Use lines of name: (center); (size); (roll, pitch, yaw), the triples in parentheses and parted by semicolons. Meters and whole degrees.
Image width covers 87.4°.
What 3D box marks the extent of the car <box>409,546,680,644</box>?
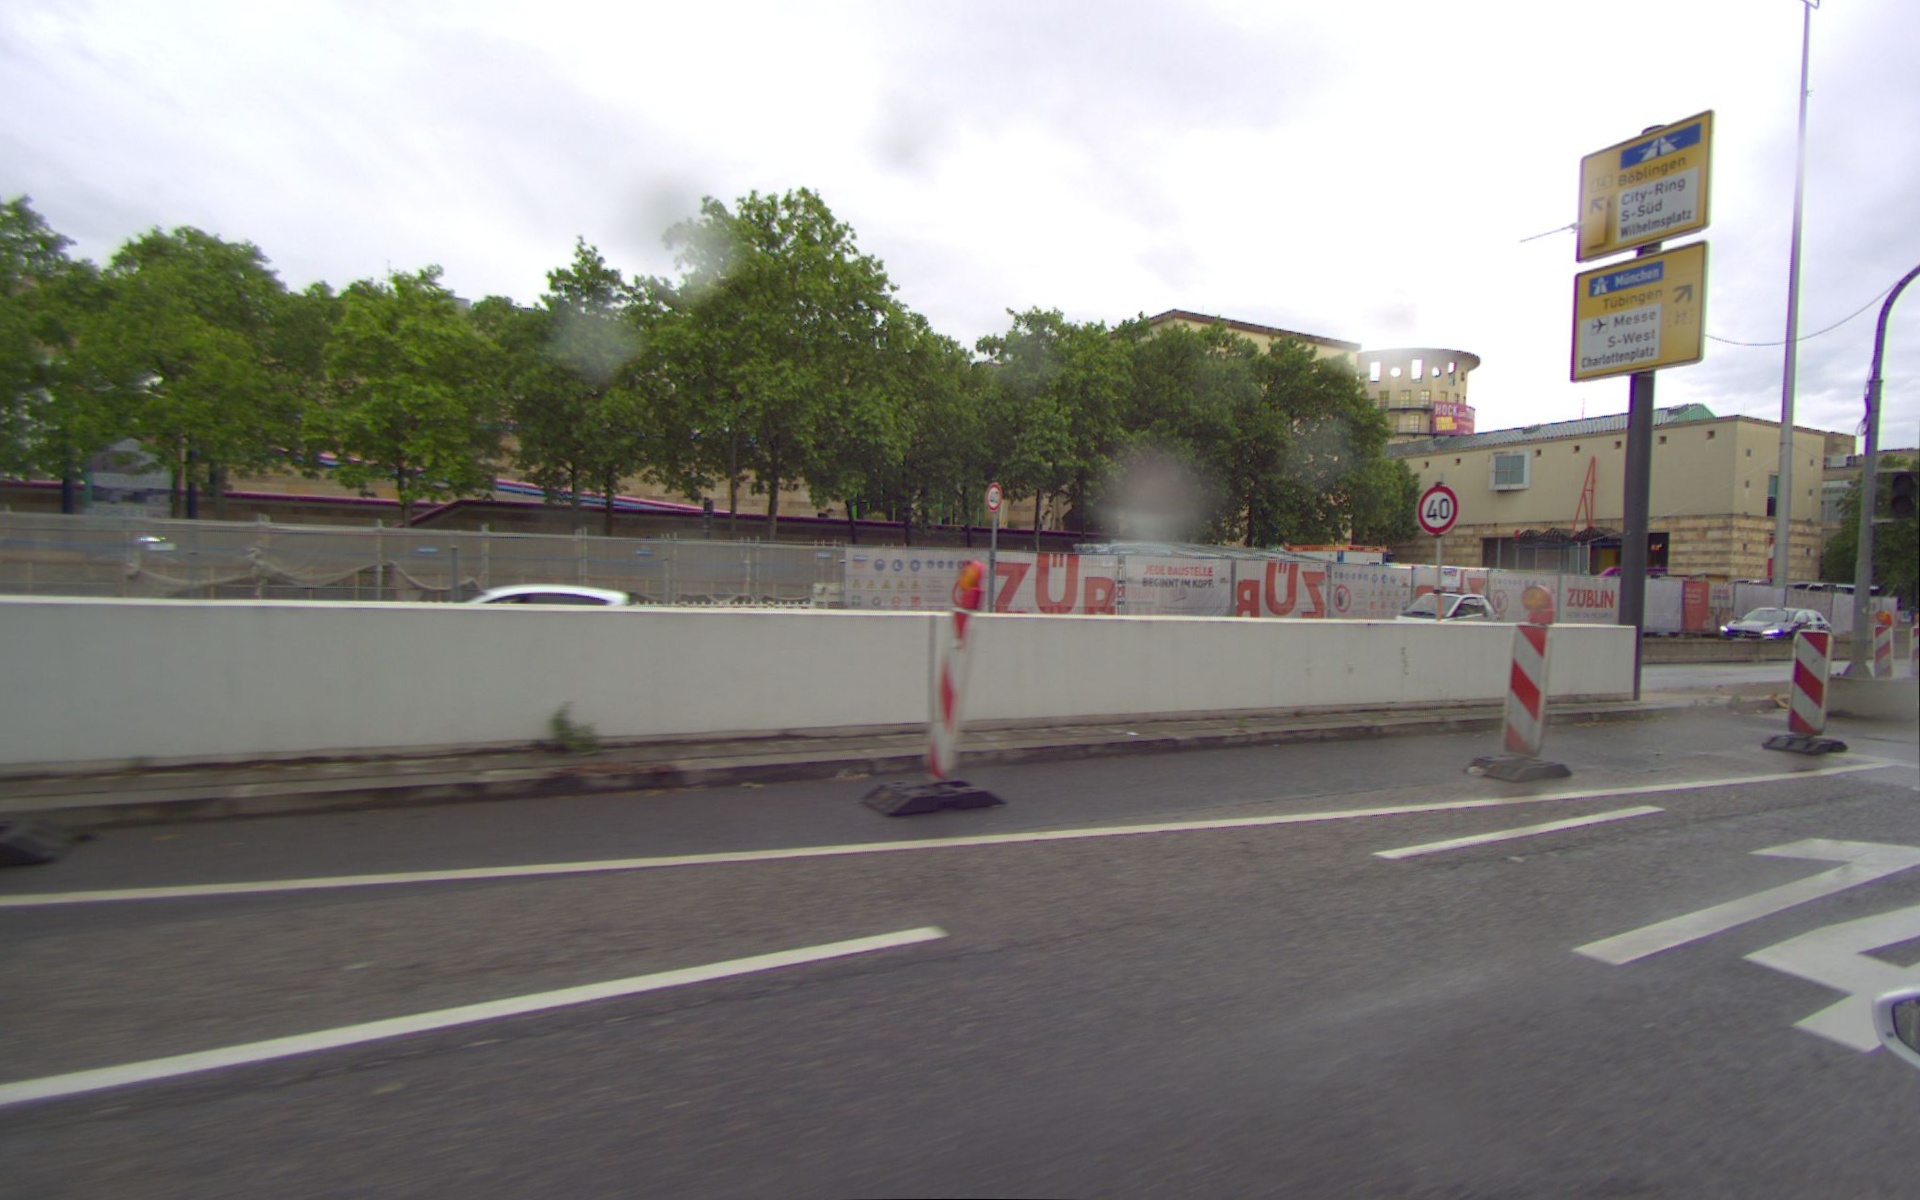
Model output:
car: (-5.857, -0.067, 14.205); (3.364, 1.212, 1.618); (1, 3, -30)

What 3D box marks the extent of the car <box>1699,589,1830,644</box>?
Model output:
car: (26.438, 0.543, 33.002); (3.954, 1.499, 1.983); (3, 3, -31)

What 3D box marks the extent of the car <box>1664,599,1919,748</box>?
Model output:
car: (9.272, 0.750, 11.121); (3.035, 1.405, 1.377); (2, 0, -33)

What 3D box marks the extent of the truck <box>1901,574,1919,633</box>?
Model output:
truck: (41.517, 0.311, 41.721); (5.392, 2.370, 2.396); (3, 3, -36)

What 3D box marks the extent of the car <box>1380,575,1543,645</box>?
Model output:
car: (12.466, 0.233, 24.946); (3.953, 1.542, 1.660); (0, 4, -30)
